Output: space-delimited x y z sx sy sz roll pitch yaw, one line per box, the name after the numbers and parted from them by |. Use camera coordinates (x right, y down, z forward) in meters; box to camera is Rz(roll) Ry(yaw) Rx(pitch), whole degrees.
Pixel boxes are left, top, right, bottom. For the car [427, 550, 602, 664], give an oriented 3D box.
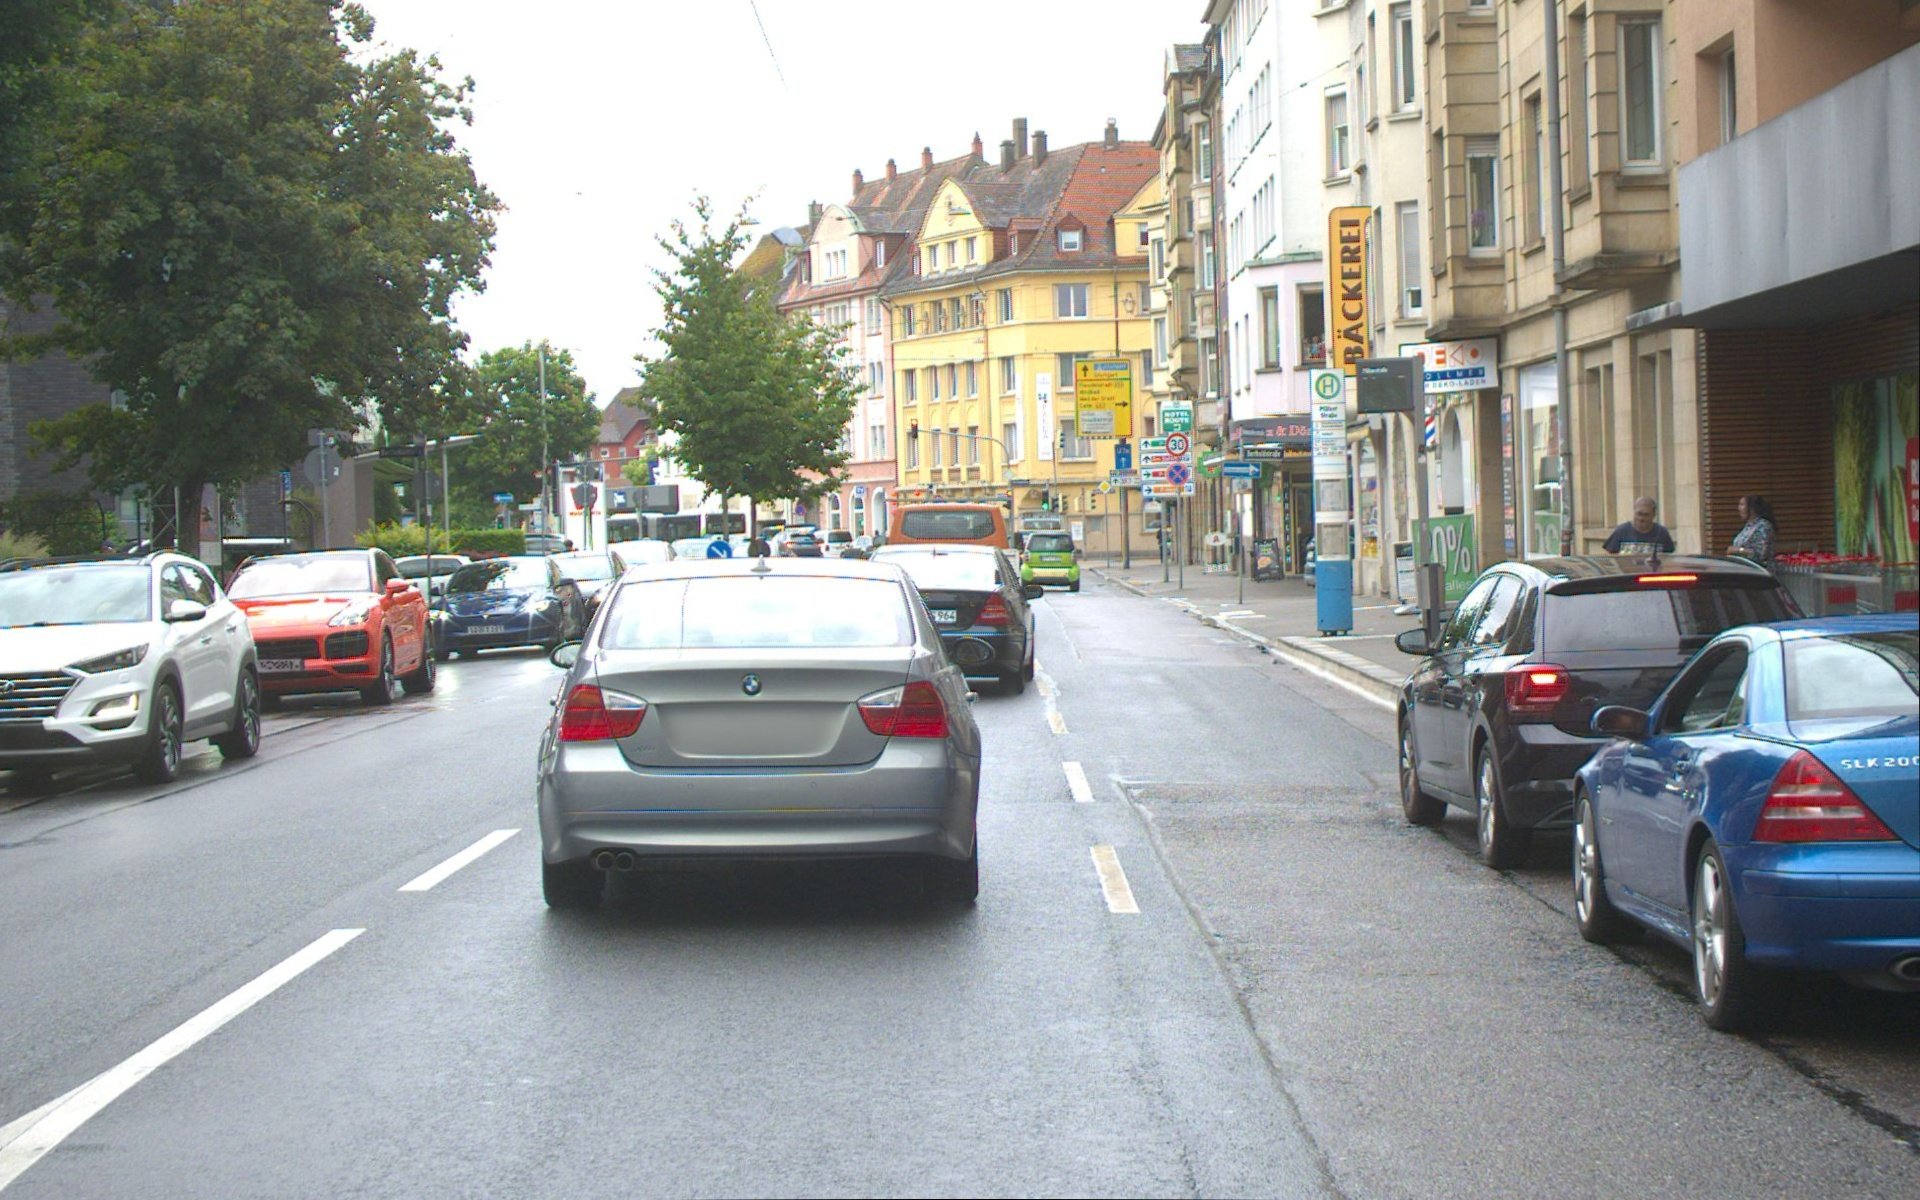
-6.617 0.064 51.540 1.955 1.506 4.913 -3 1 0 | car

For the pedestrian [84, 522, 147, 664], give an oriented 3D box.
-11.011 -0.101 44.812 0.721 1.819 0.722 -1 2 -18 | pedestrian

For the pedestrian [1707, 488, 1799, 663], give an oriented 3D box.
7.208 -0.229 31.273 0.561 1.567 0.627 -1 1 -16 | pedestrian

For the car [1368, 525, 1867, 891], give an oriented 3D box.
3.163 0.438 17.304 1.730 1.542 3.982 2 2 1 | car

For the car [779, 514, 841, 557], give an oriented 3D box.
-7.773 -3.338 177.379 1.761 2.173 4.001 1 1 -25 | car

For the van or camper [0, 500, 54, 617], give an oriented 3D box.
-20.111 -0.833 66.471 4.602 2.258 2.212 0 1 -29 | van or camper

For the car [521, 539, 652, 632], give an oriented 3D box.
-6.598 -0.282 61.056 1.955 1.551 4.244 1 1 -2 | car

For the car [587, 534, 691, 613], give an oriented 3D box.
-6.629 -0.572 71.293 1.819 1.563 4.089 -1 1 -1 | car

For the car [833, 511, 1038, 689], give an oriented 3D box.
-0.241 -0.009 32.582 1.799 1.558 4.000 -1 0 -1 | car

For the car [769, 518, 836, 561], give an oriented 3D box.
-7.528 -2.876 163.998 1.993 2.007 4.001 -2 1 -21 | car

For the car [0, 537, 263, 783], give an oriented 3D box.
-6.399 0.409 24.603 1.895 1.568 4.125 -3 0 0 | car

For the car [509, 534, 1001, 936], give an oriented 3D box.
-0.787 0.486 14.886 1.799 1.459 4.371 -1 0 -1 | car

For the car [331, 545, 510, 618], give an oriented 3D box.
-12.158 -0.435 77.496 3.577 1.564 1.741 -1 1 -32 | car

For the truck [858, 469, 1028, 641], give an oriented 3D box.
-0.228 -0.643 47.903 2.224 2.242 5.063 0 1 0 | truck

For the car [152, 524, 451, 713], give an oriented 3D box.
-6.867 0.167 36.414 2.106 1.758 5.060 -3 0 0 | car

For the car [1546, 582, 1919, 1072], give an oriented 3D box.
3.171 0.638 11.685 1.734 1.305 3.767 -1 1 1 | car

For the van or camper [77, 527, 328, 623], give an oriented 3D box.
-16.488 -0.565 74.852 4.951 2.007 2.000 -1 1 -29 | van or camper

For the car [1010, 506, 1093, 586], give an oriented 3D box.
2.363 -1.413 89.864 1.993 2.007 4.000 -1 1 0 | car

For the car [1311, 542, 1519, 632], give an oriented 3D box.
9.277 -0.270 70.057 4.139 1.766 1.873 -1 1 9 | car

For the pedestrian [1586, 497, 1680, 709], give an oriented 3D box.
5.401 0.011 27.614 0.625 1.646 0.749 -1 4 3 | pedestrian

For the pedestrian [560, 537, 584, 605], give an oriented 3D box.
-10.148 -0.772 89.821 0.574 1.756 0.581 -1 1 -6 | pedestrian
